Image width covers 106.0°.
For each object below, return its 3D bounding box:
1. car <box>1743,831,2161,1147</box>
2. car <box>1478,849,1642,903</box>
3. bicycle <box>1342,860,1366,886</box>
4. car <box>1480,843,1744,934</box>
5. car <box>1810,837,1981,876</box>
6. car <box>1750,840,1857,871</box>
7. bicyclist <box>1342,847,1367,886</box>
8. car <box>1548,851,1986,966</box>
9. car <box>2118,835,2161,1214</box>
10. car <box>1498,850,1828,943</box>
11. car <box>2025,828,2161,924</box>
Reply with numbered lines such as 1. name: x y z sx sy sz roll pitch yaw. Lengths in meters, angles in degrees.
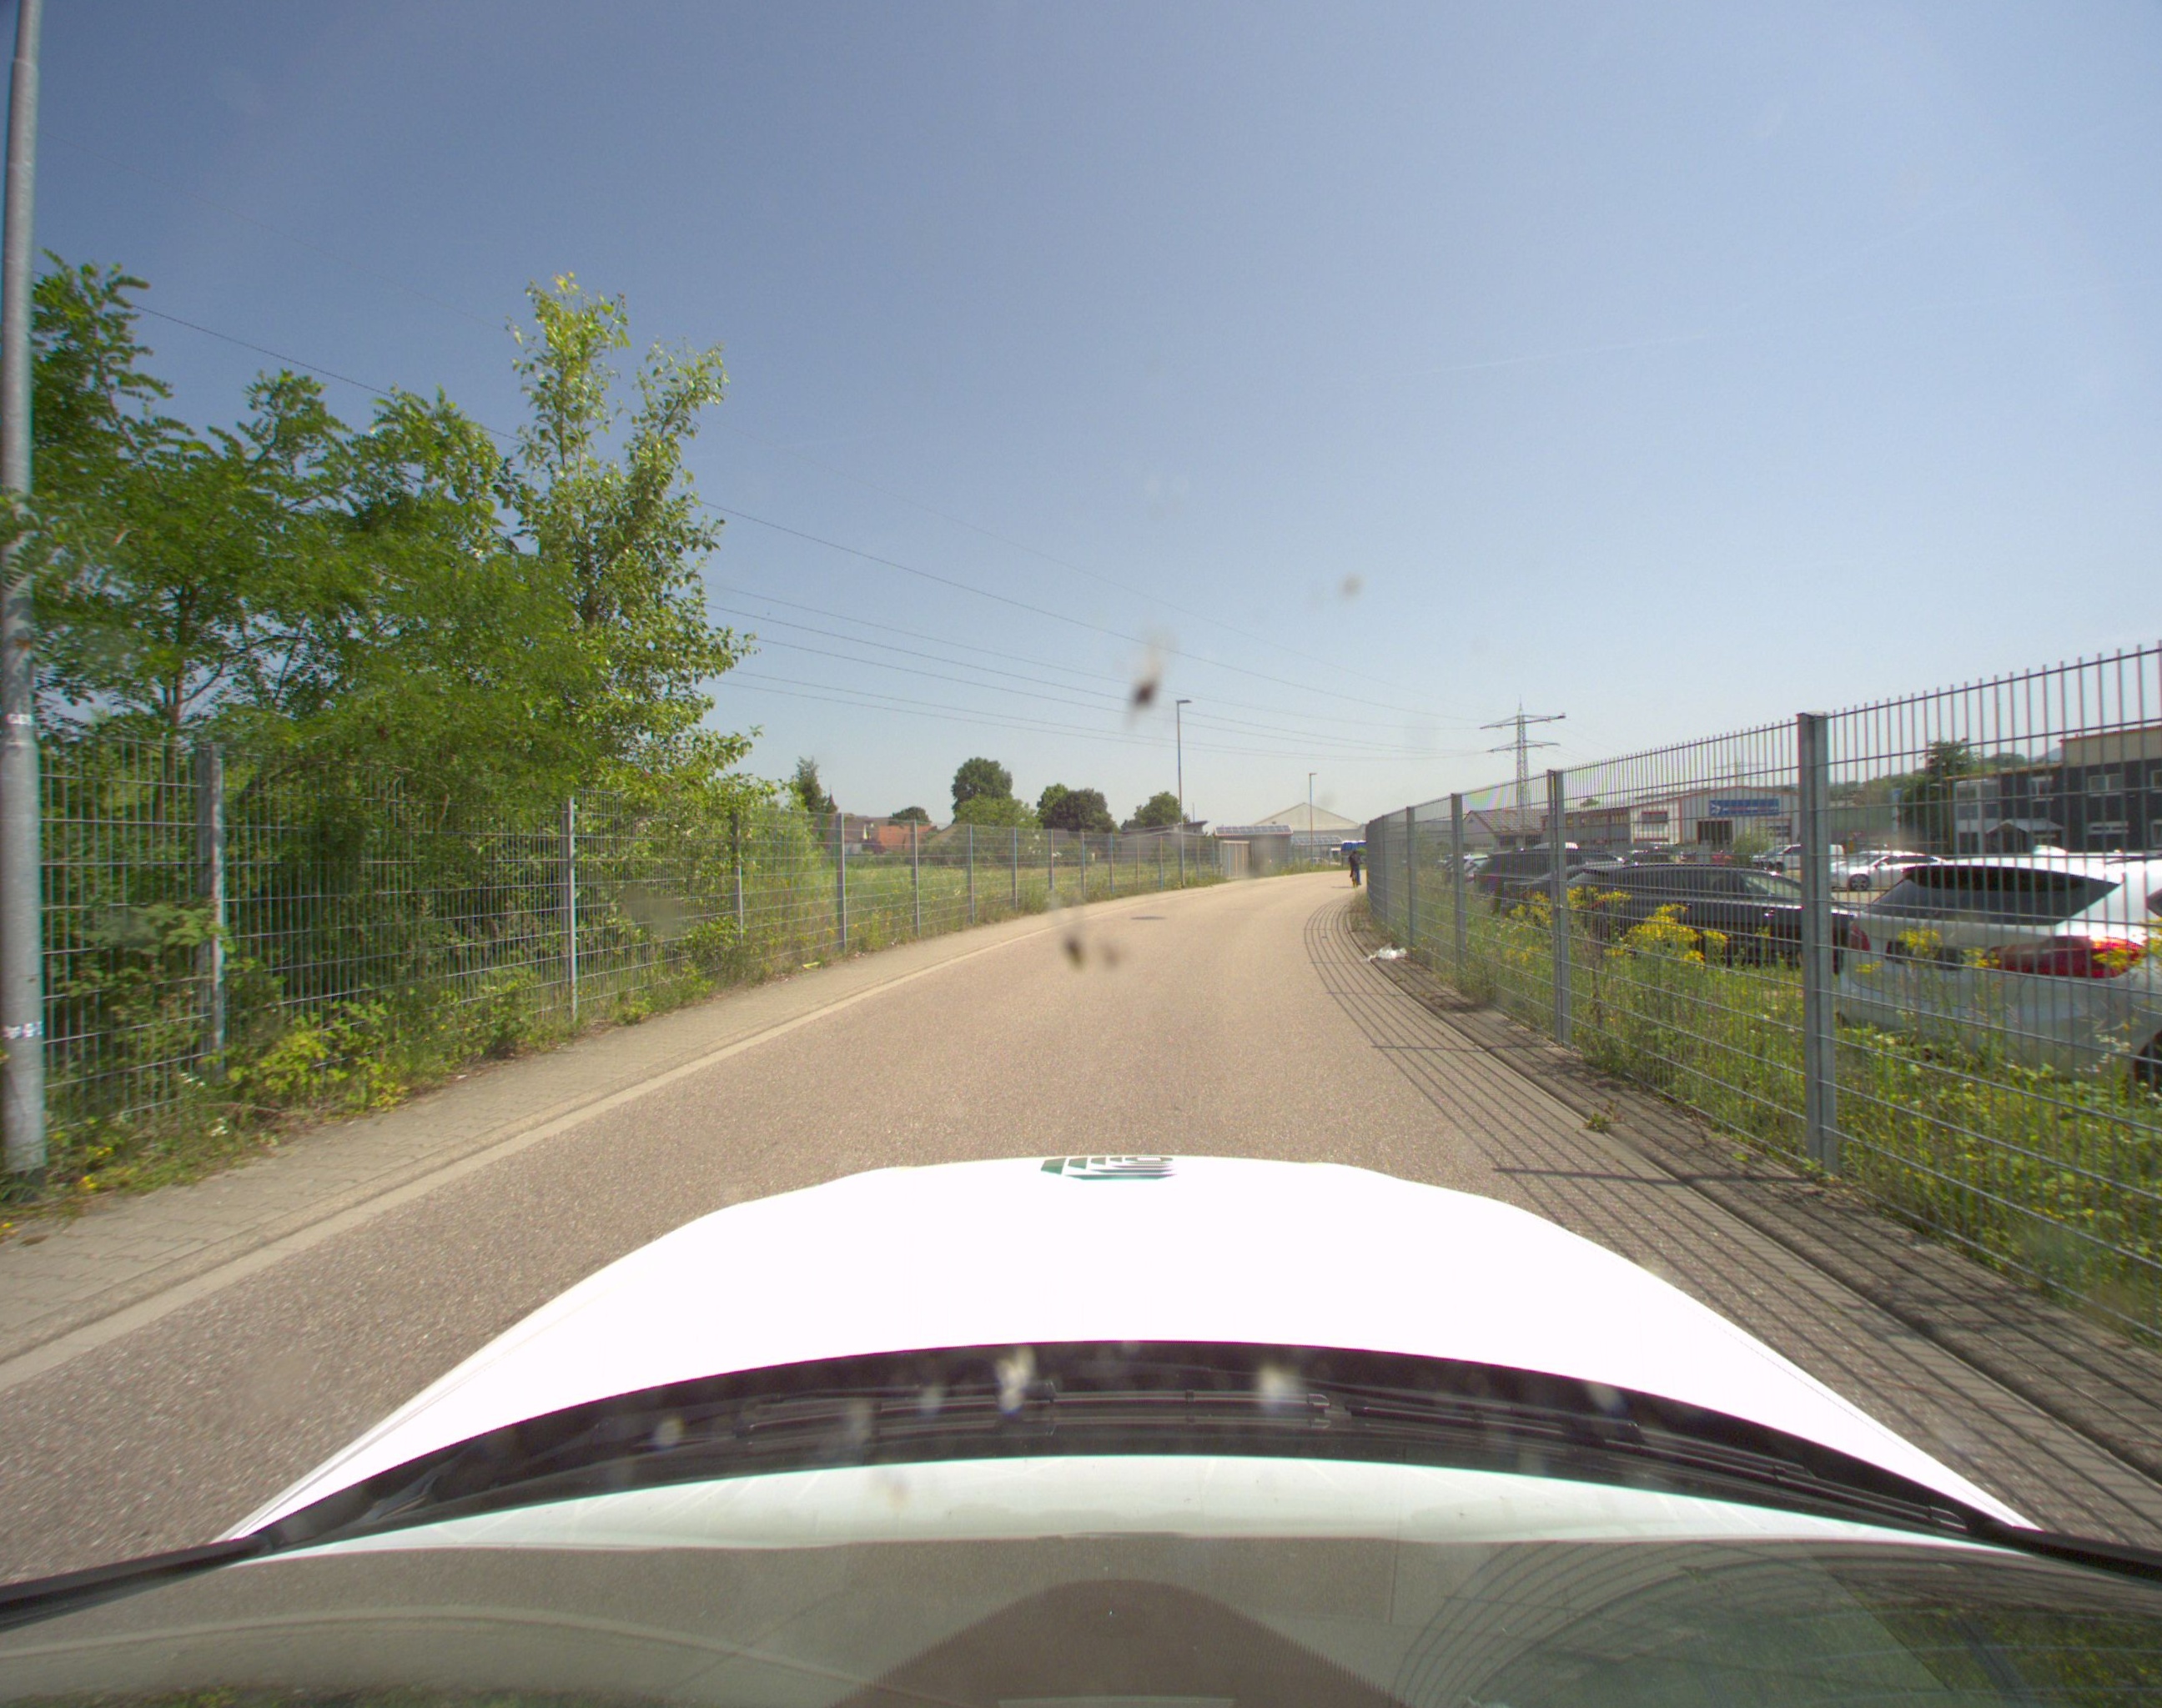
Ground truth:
1. car: 6.961 0.702 5.048 4.095 1.669 1.728 -2 0 11
2. car: 14.598 0.625 25.042 4.171 1.406 1.850 2 1 28
3. bicycle: 11.710 0.810 34.852 0.678 1.051 1.912 0 0 28
4. car: 10.491 0.666 16.479 4.240 1.637 1.775 -2 0 27
5. car: 30.719 0.094 30.836 4.481 1.351 1.631 -1 0 9
6. car: 47.206 0.095 53.313 5.029 1.899 1.863 -1 -1 9
7. bicyclist: 11.705 0.532 34.817 0.834 1.618 1.046 0 1 28
8. car: 9.163 0.732 11.322 4.308 1.378 1.772 -2 0 14
9. car: 6.787 0.697 2.477 4.440 1.669 1.728 -2 0 11
10. car: 9.596 0.701 13.867 4.244 1.378 1.774 -2 0 20
11. car: 20.807 0.326 14.848 4.430 1.649 1.885 -2 0 13
